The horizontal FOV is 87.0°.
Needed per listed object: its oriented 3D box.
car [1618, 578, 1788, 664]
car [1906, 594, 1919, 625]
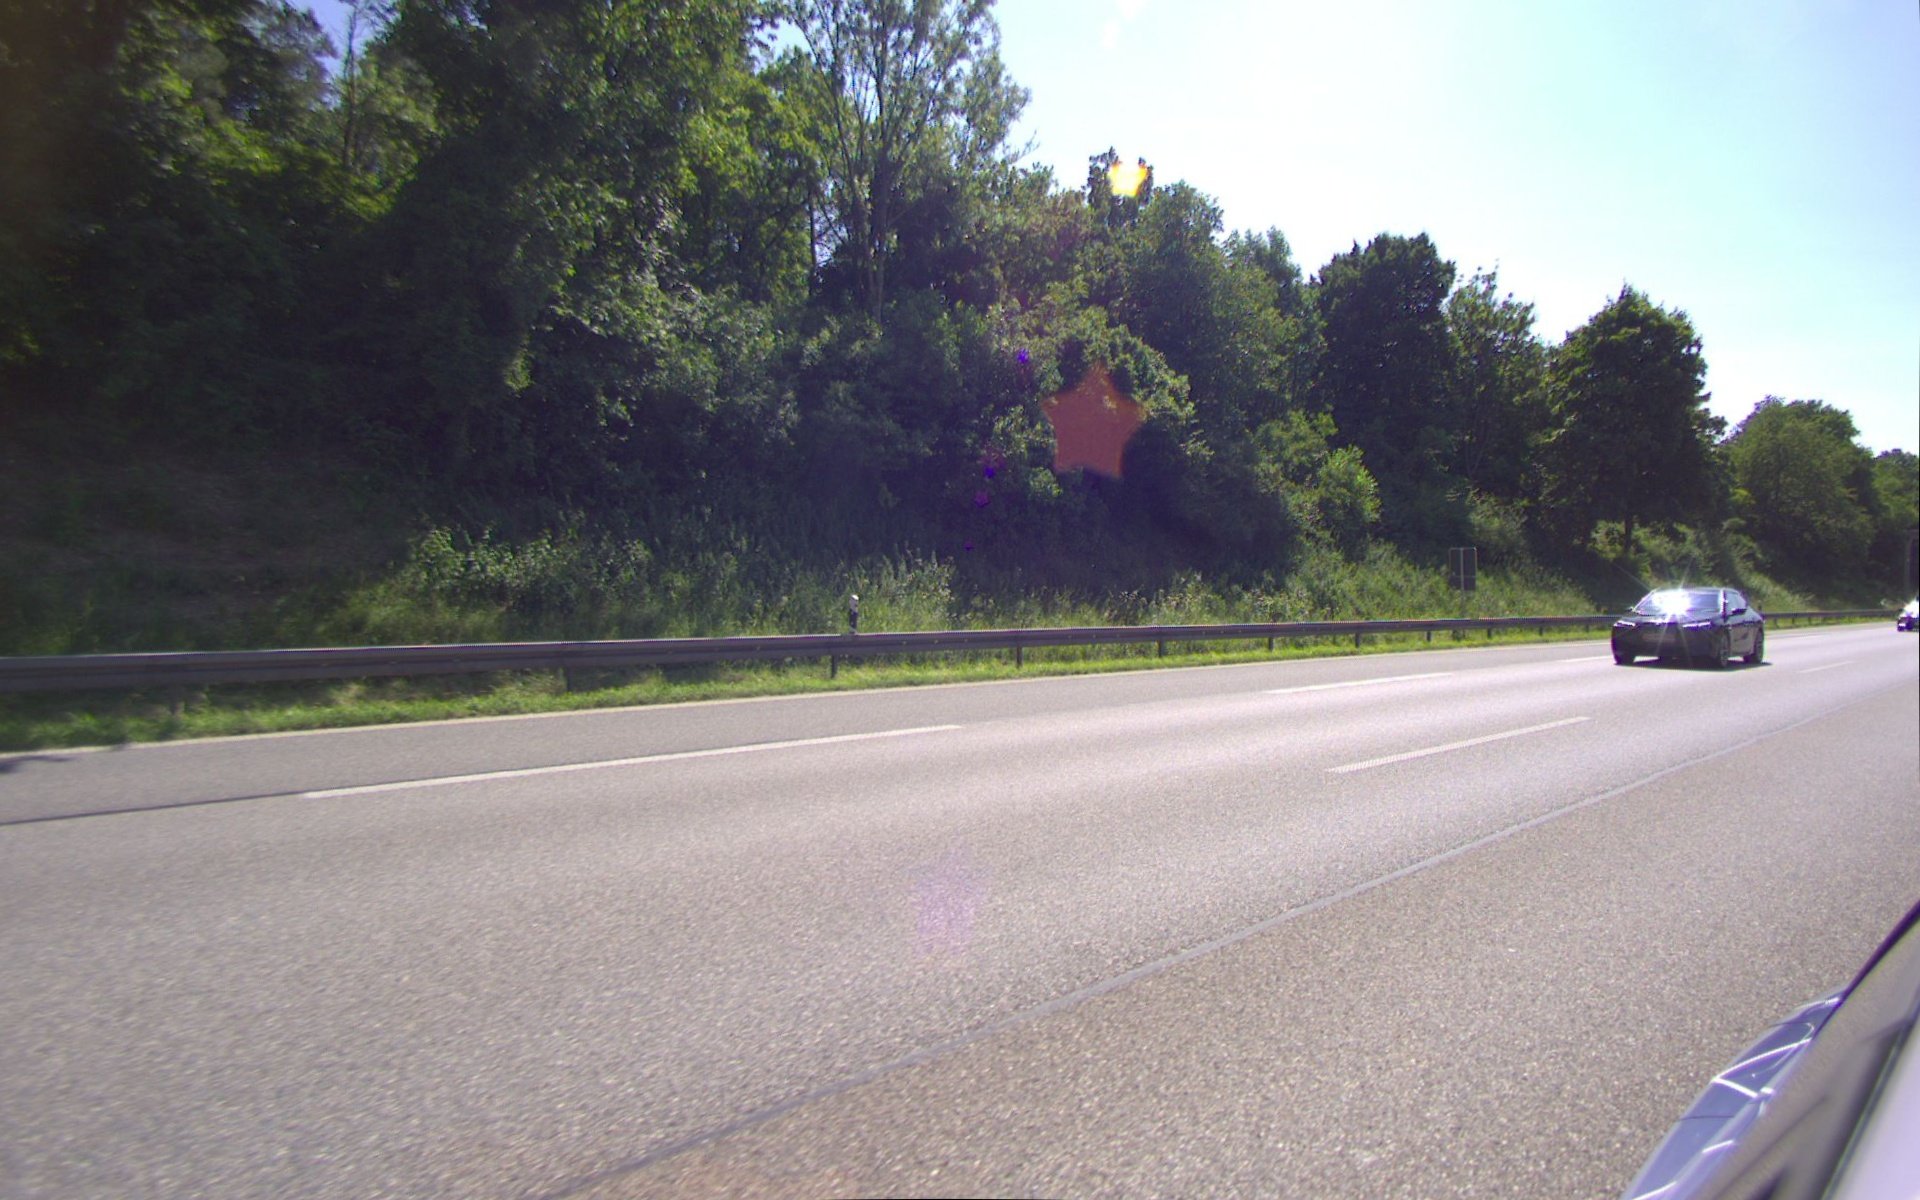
[{"bbox_3d":[16.381,0.399,22.235,4.602,1.690,1.924,0,0,-39],"label":"car"},{"bbox_3d":[45.523,0.454,47.016,4.066,1.415,1.915,0,2,-41],"label":"car"}]
